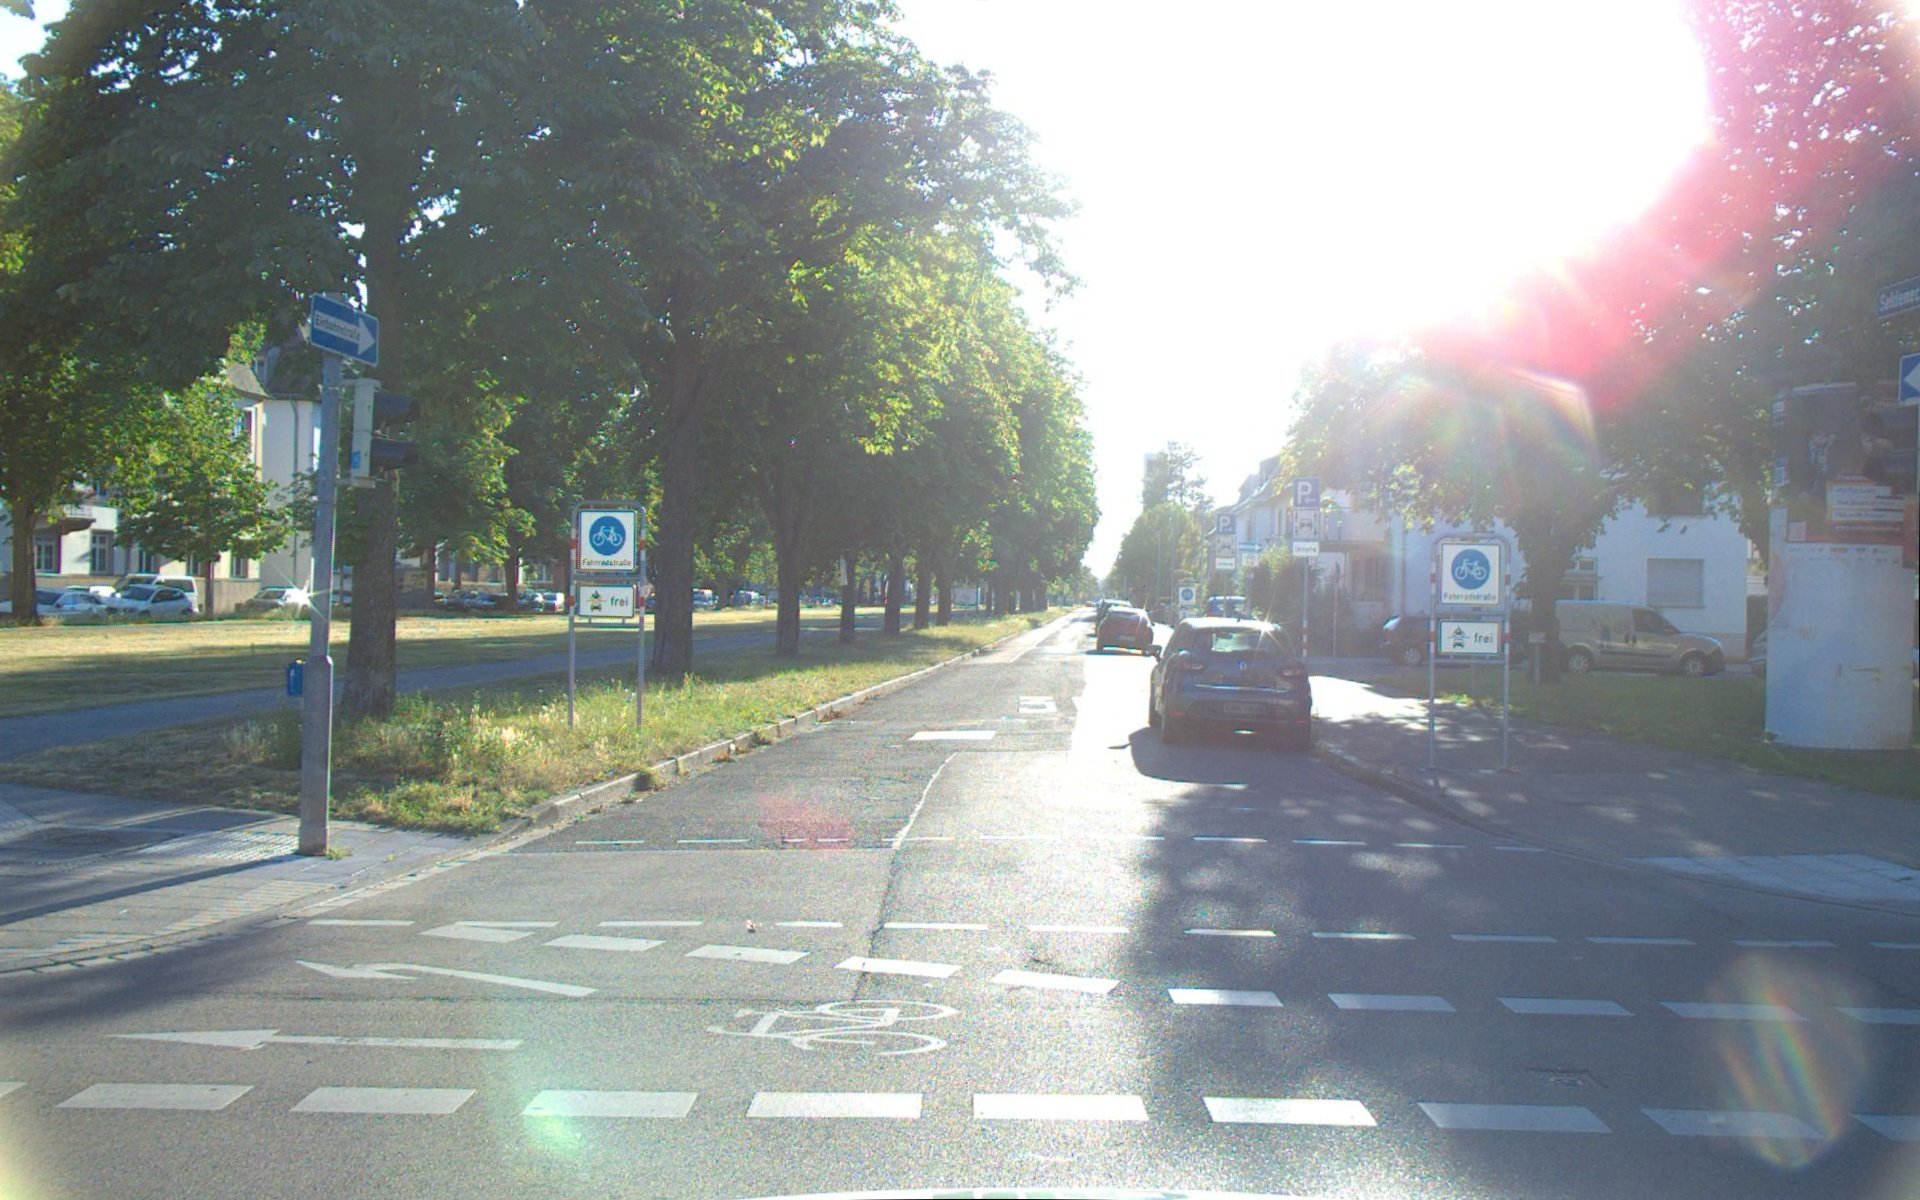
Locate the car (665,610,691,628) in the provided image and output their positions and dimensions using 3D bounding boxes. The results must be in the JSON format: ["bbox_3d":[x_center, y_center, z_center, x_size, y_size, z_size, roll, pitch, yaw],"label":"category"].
[{"bbox_3d":[-27.436,1.858,160.902,1.605,1.671,3.856,3,-1,3],"label":"car"}]

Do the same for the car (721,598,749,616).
[{"bbox_3d":[-22.731,0.702,167.222,1.951,1.688,4.573,1,0,4],"label":"car"}]

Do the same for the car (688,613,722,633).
[{"bbox_3d":[-22.689,2.073,147.388,1.980,1.688,3.986,3,-1,5],"label":"car"}]

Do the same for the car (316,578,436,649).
[{"bbox_3d":[-28.552,0.611,81.275,2.342,3.185,7.857,3,0,5],"label":"car"}]

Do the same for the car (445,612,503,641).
[{"bbox_3d":[-31.456,1.720,107.129,1.951,1.688,4.377,3,-1,6],"label":"car"}]

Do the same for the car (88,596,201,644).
[{"bbox_3d":[-30.218,0.723,61.413,1.758,1.581,4.421,3,1,3],"label":"car"}]

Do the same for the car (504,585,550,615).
[{"bbox_3d":[-30.841,0.014,117.981,1.952,2.049,4.001,3,-1,3],"label":"car"}]

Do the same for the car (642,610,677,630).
[{"bbox_3d":[-27.893,1.870,153.504,1.951,1.688,4.358,3,-1,6],"label":"car"}]

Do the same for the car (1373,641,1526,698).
[{"bbox_3d":[13.888,1.958,47.092,3.903,1.472,1.717,1,-1,4],"label":"car"}]

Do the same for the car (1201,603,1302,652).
[{"bbox_3d":[12.123,1.162,68.865,3.905,1.854,1.759,0,-6,0],"label":"car"}]

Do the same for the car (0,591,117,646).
[{"bbox_3d":[-30.777,0.621,55.744,1.951,1.688,4.573,3,-1,6],"label":"car"}]

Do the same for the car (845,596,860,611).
[{"bbox_3d":[-15.131,0.484,233.167,1.619,1.972,3.569,3,-2,4],"label":"car"}]

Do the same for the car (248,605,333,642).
[{"bbox_3d":[-33.644,1.188,83.207,1.951,1.688,4.573,3,-1,6],"label":"car"}]

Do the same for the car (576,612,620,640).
[{"bbox_3d":[-25.529,1.822,116.836,1.773,1.812,4.124,3,-1,5],"label":"car"}]

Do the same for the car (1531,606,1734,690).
[{"bbox_3d":[16.308,1.155,40.287,4.152,1.908,2.032,1,-1,4],"label":"car"}]

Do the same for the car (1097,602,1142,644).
[{"bbox_3d":[7.652,1.091,79.740,1.952,1.812,4.002,3,1,4],"label":"car"}]

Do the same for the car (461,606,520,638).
[{"bbox_3d":[-27.355,1.277,96.507,1.840,1.703,4.317,3,-1,5],"label":"car"}]

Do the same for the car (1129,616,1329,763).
[{"bbox_3d":[3.206,1.016,20.573,1.690,1.537,4.540,3,-1,0],"label":"car"}]

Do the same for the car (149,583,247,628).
[{"bbox_3d":[-34.919,0.254,75.934,1.952,1.984,4.880,1,0,3],"label":"car"}]

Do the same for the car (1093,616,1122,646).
[{"bbox_3d":[10.980,2.292,123.311,1.952,2.049,4.002,3,-1,4],"label":"car"}]

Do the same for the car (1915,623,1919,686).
[{"bbox_3d":[25.272,1.379,39.680,3.841,1.550,1.523,2,-2,0],"label":"car"}]

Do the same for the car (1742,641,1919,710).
[{"bbox_3d":[20.802,1.784,39.542,3.481,1.542,1.605,1,-1,-1],"label":"car"}]

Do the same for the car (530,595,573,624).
[{"bbox_3d":[-30.556,0.717,123.773,1.952,2.049,4.001,3,-1,3],"label":"car"}]

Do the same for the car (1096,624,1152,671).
[{"bbox_3d":[5.324,1.515,53.962,1.674,1.383,4.205,3,-1,5],"label":"car"}]
